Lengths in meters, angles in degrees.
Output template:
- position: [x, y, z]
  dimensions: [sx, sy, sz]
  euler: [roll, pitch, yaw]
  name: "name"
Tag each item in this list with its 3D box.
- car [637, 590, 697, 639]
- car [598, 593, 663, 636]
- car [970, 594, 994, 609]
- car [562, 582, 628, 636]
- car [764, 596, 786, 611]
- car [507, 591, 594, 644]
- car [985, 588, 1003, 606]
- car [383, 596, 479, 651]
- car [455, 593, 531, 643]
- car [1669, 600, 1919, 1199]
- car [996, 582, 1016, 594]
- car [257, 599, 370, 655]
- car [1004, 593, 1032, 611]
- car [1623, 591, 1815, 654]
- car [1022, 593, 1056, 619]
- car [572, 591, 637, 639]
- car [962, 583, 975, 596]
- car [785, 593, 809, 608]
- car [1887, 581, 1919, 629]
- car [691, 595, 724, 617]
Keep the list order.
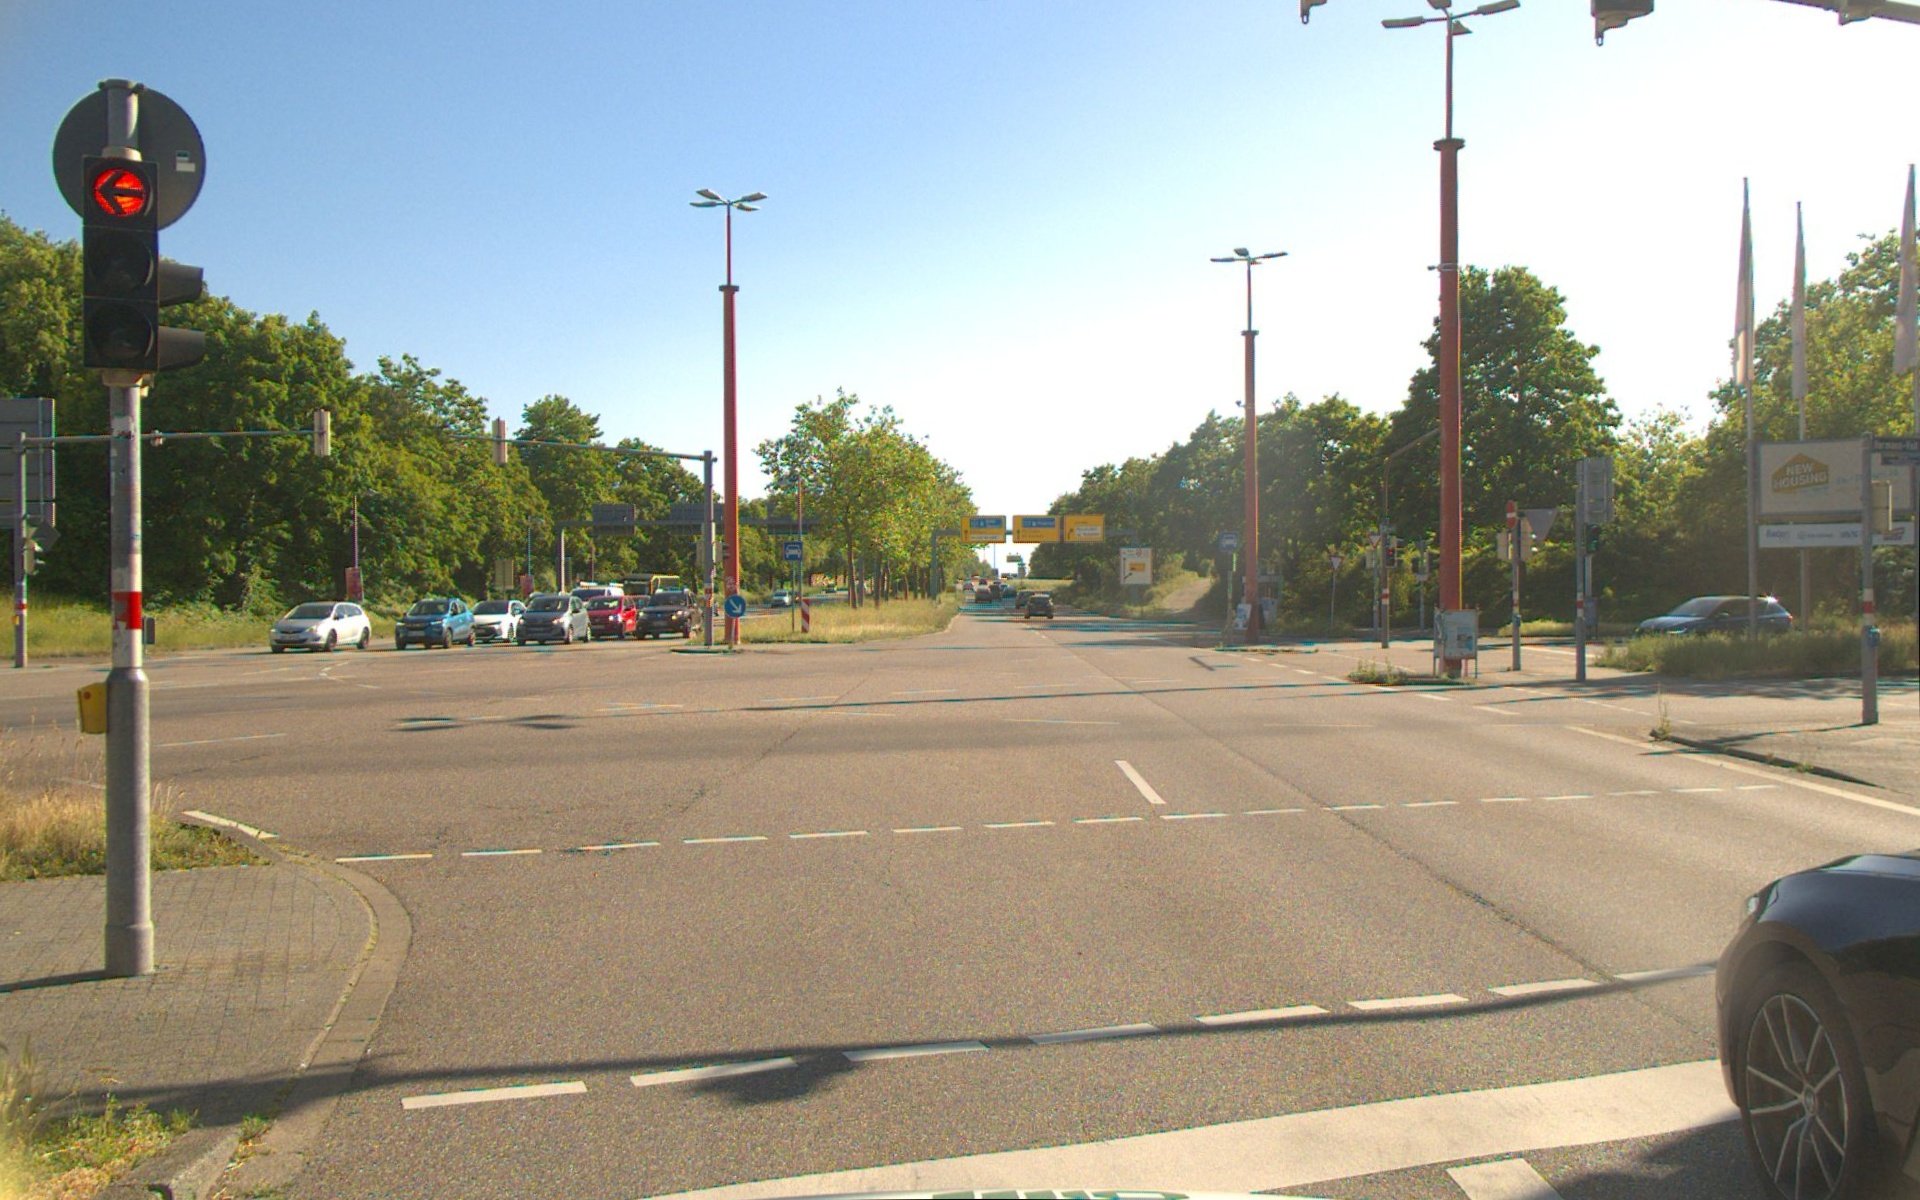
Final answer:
- position: [-9.875, 0.470, 55.987]
  dimensions: [1.841, 1.601, 4.113]
  euler: [0, 0, -8]
  name: "car"
- position: [-12.713, 0.526, 64.043]
  dimensions: [1.954, 1.601, 4.117]
  euler: [0, 0, -4]
  name: "car"
- position: [2.350, 0.139, 178.758]
  dimensions: [2.202, 1.601, 4.276]
  euler: [0, 0, -5]
  name: "car"
- position: [-15.673, 0.384, 71.261]
  dimensions: [2.021, 2.231, 4.376]
  euler: [0, 0, -3]
  name: "car"
- position: [-18.391, 0.325, 164.538]
  dimensions: [1.846, 1.480, 3.656]
  euler: [0, 0, 0]
  name: "car"
- position: [-12.806, 0.520, 51.961]
  dimensions: [1.954, 1.601, 4.118]
  euler: [0, 0, -4]
  name: "car"
- position: [3.951, -0.339, 194.987]
  dimensions: [1.953, 2.049, 3.999]
  euler: [0, 0, -1]
  name: "car"
- position: [-16.209, 0.680, 50.887]
  dimensions: [1.955, 1.601, 4.116]
  euler: [0, 0, -5]
  name: "car"
- position: [-15.992, 0.595, 56.780]
  dimensions: [1.956, 1.601, 4.113]
  euler: [-1, 0, -8]
  name: "car"
- position: [2.973, 0.712, 2.357]
  dimensions: [1.953, 1.419, 4.476]
  euler: [0, 0, -1]
  name: "car"
- position: [5.889, -1.551, 212.783]
  dimensions: [2.116, 1.601, 4.277]
  euler: [0, 0, -4]
  name: "car"
- position: [-19.588, 0.783, 50.293]
  dimensions: [1.954, 1.601, 4.118]
  euler: [0, 0, -3]
  name: "car"
- position: [5.270, 0.205, 150.292]
  dimensions: [2.116, 1.601, 4.277]
  euler: [0, 0, -4]
  name: "car"
- position: [18.758, 0.528, 40.899]
  dimensions: [4.202, 1.453, 1.874]
  euler: [0, 0, -19]
  name: "car"
- position: [5.086, 0.370, 106.902]
  dimensions: [2.114, 1.601, 4.281]
  euler: [0, 0, 1]
  name: "car"
- position: [-12.480, 0.505, 58.267]
  dimensions: [1.956, 1.601, 4.113]
  euler: [0, 0, -8]
  name: "car"
- position: [1.339, -1.626, 261.134]
  dimensions: [1.953, 2.049, 3.999]
  euler: [0, 0, -1]
  name: "car"
- position: [-17.734, 0.064, 180.185]
  dimensions: [1.952, 1.601, 4.122]
  euler: [0, 0, 2]
  name: "car"
- position: [33.981, 0.144, 55.746]
  dimensions: [4.486, 1.601, 2.160]
  euler: [0, 0, -11]
  name: "car"
- position: [-18.572, 0.405, 121.697]
  dimensions: [1.954, 1.601, 4.118]
  euler: [0, 0, -3]
  name: "car"
